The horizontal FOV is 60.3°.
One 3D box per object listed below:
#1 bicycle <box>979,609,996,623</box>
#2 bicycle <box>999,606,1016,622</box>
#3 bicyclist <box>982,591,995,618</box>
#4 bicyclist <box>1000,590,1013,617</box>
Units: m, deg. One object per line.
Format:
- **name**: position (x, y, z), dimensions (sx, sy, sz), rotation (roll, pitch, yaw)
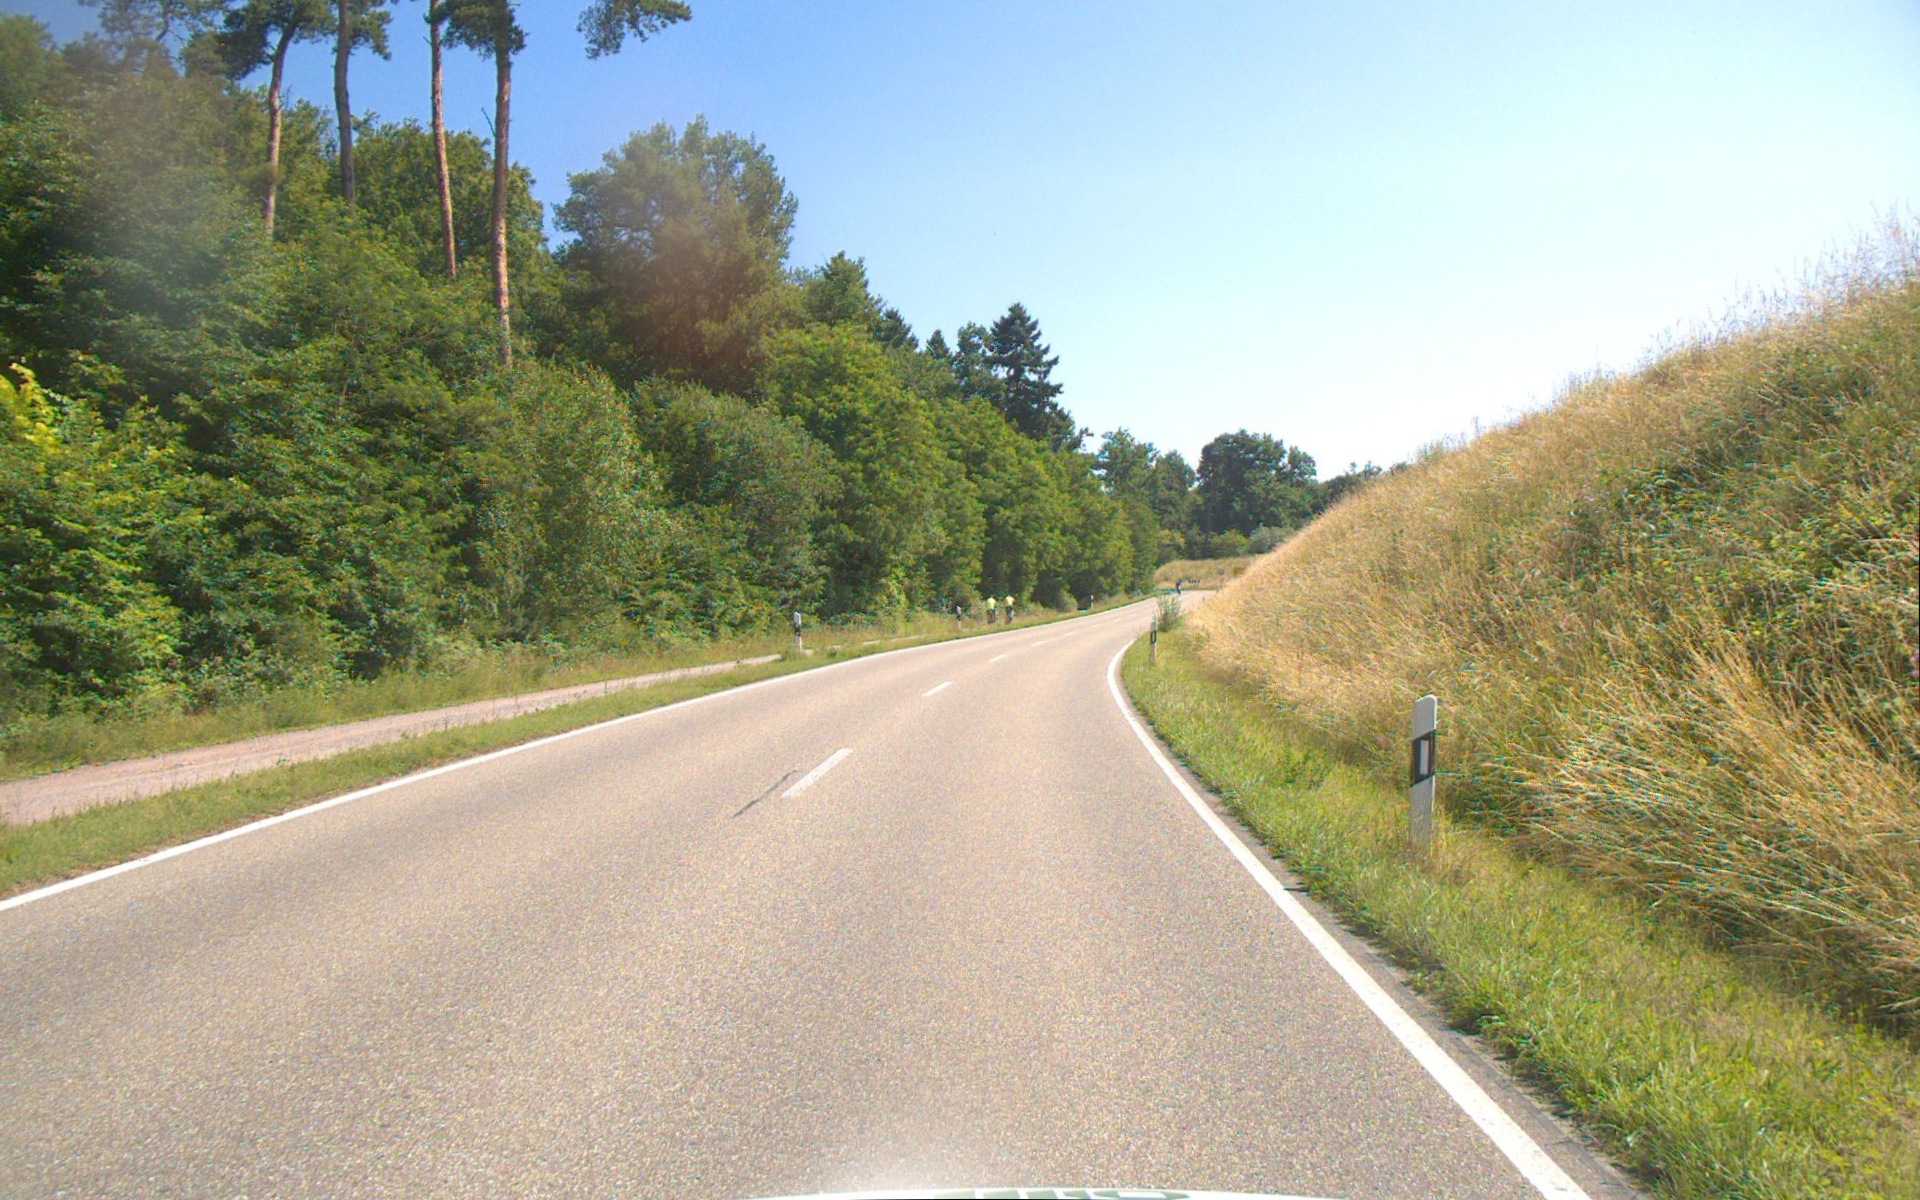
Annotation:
- **bicycle**: position (1.501, 0.847, 89.305), dimensions (0.606, 0.693, 2.139), rotation (-2, 0, 10)
- **bicycle**: position (2.557, 0.761, 89.239), dimensions (0.626, 0.802, 2.139), rotation (-2, 0, 10)
- **bicyclist**: position (1.549, 0.242, 89.483), dimensions (0.592, 1.440, 0.703), rotation (-2, 0, 10)
- **bicyclist**: position (2.518, 0.171, 89.298), dimensions (0.592, 1.440, 0.703), rotation (-2, 0, 10)
